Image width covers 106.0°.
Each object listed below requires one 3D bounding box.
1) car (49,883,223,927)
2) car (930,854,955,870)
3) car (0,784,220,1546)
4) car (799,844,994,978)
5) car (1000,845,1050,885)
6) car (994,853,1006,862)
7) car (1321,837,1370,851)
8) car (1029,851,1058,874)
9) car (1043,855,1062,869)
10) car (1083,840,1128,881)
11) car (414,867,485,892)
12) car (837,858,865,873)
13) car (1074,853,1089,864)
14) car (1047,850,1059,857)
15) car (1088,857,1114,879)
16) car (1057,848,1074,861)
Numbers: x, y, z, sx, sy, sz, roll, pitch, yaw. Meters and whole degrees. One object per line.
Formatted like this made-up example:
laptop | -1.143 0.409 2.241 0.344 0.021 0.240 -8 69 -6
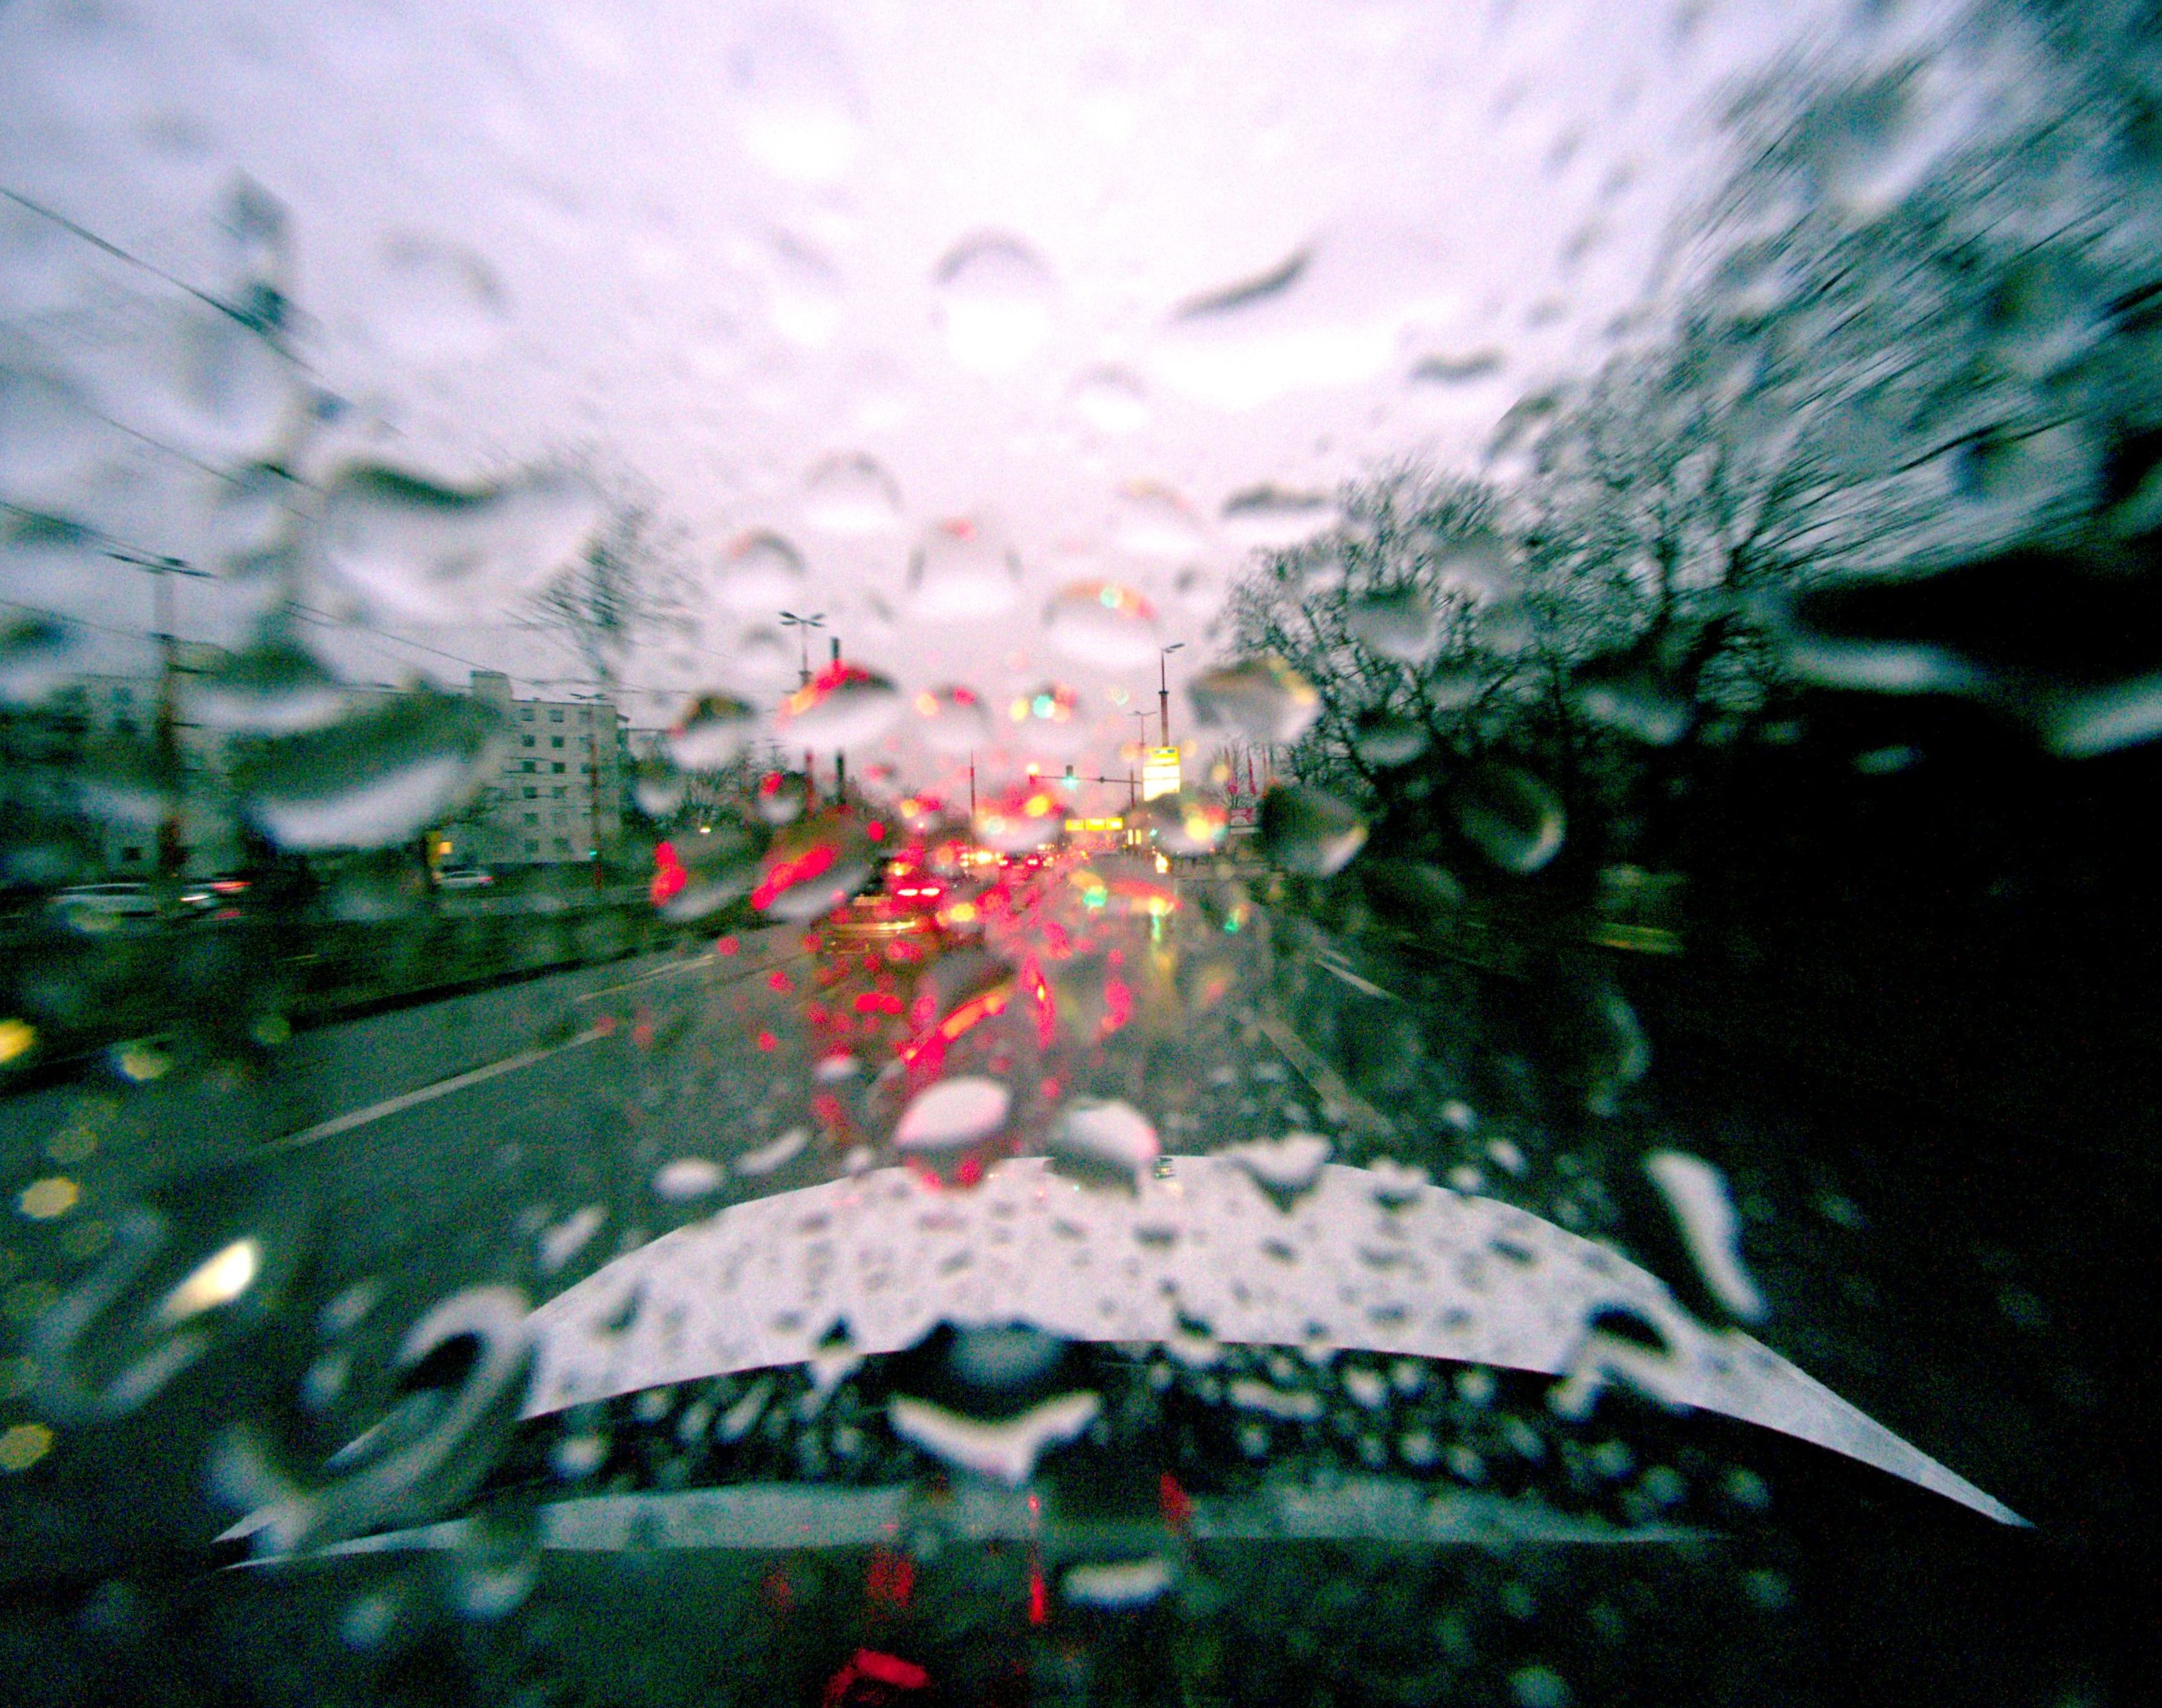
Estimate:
car | -40.344 2.145 34.925 4.449 1.544 1.836 -2 0 -26
car | -14.697 0.793 86.658 1.851 1.581 4.079 -2 0 0
car | -3.271 0.702 0.140 1.707 1.648 4.149 -2 0 2
car | -2.594 0.722 12.616 1.815 1.648 4.468 -2 0 2
car | -2.460 0.448 36.639 1.815 1.648 4.002 -2 0 2
car | -15.299 0.689 153.343 1.764 1.586 4.033 -2 0 0
car | 29.033 -1.114 89.471 4.725 1.376 1.882 -2 0 -1
car | -2.852 0.656 62.550 1.815 1.648 4.002 -2 0 2
car | -2.742 0.757 79.140 1.499 1.339 4.002 -2 0 2
car | 1.094 0.277 36.104 1.815 1.648 4.468 -2 0 2
car | -47.483 1.921 61.333 4.015 1.640 1.521 -2 0 -33
car | -24.155 1.203 85.639 1.613 1.495 4.018 -2 0 1
car | 0.094 0.676 114.404 1.986 1.504 4.001 0 0 2
car | -5.114 -0.036 150.897 1.986 1.240 4.001 0 0 2
car | 1.542 1.049 63.005 1.986 1.662 4.001 0 0 1
car | -1.910 0.106 100.559 1.815 1.504 4.002 -2 0 2
